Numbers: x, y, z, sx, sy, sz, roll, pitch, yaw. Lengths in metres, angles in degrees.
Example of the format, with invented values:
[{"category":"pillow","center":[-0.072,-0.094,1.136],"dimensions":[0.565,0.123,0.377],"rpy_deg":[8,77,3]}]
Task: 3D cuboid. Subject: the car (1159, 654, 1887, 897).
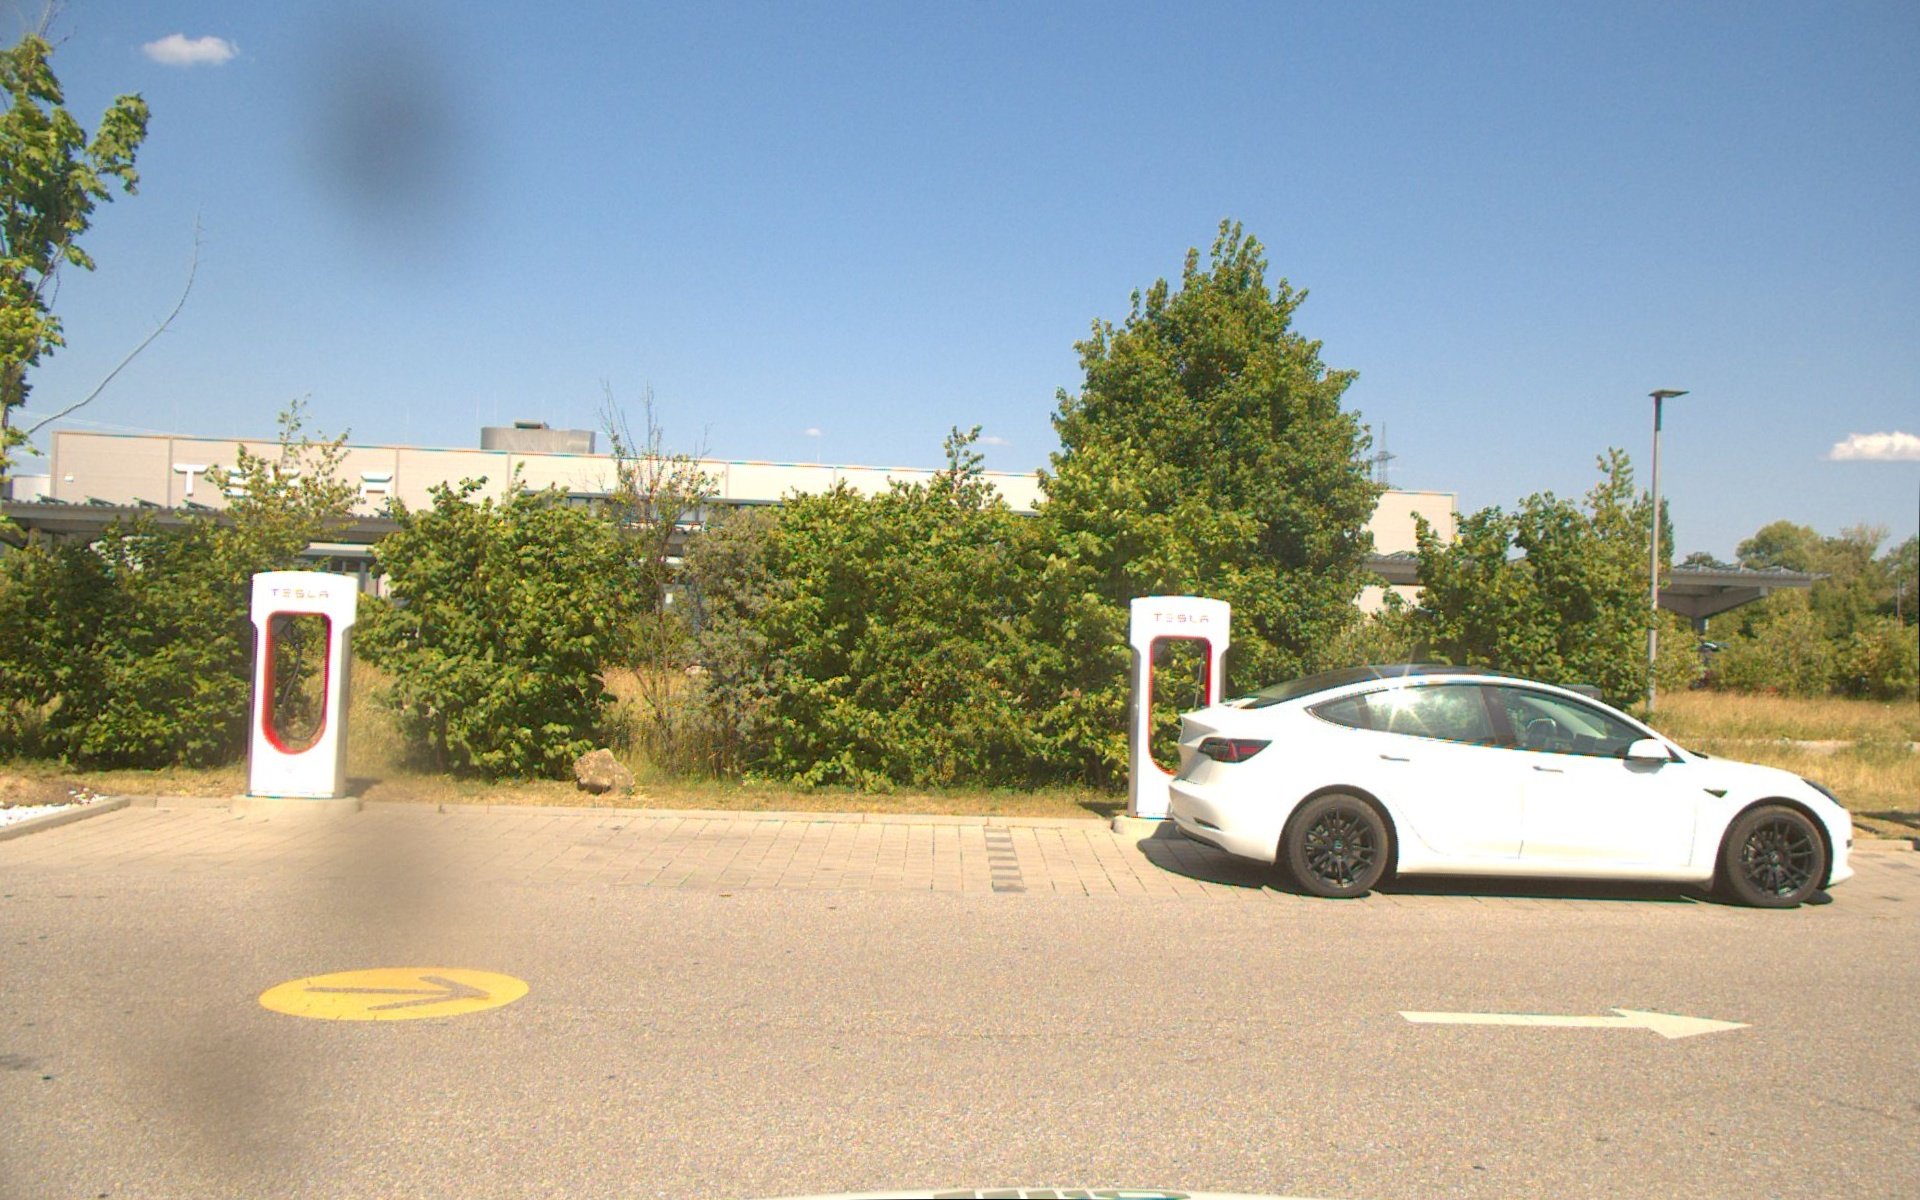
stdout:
[{"category":"car","center":[3.657,1.135,11.294],"dimensions":[4.344,1.402,1.822],"rpy_deg":[1,-1,-2]}]
